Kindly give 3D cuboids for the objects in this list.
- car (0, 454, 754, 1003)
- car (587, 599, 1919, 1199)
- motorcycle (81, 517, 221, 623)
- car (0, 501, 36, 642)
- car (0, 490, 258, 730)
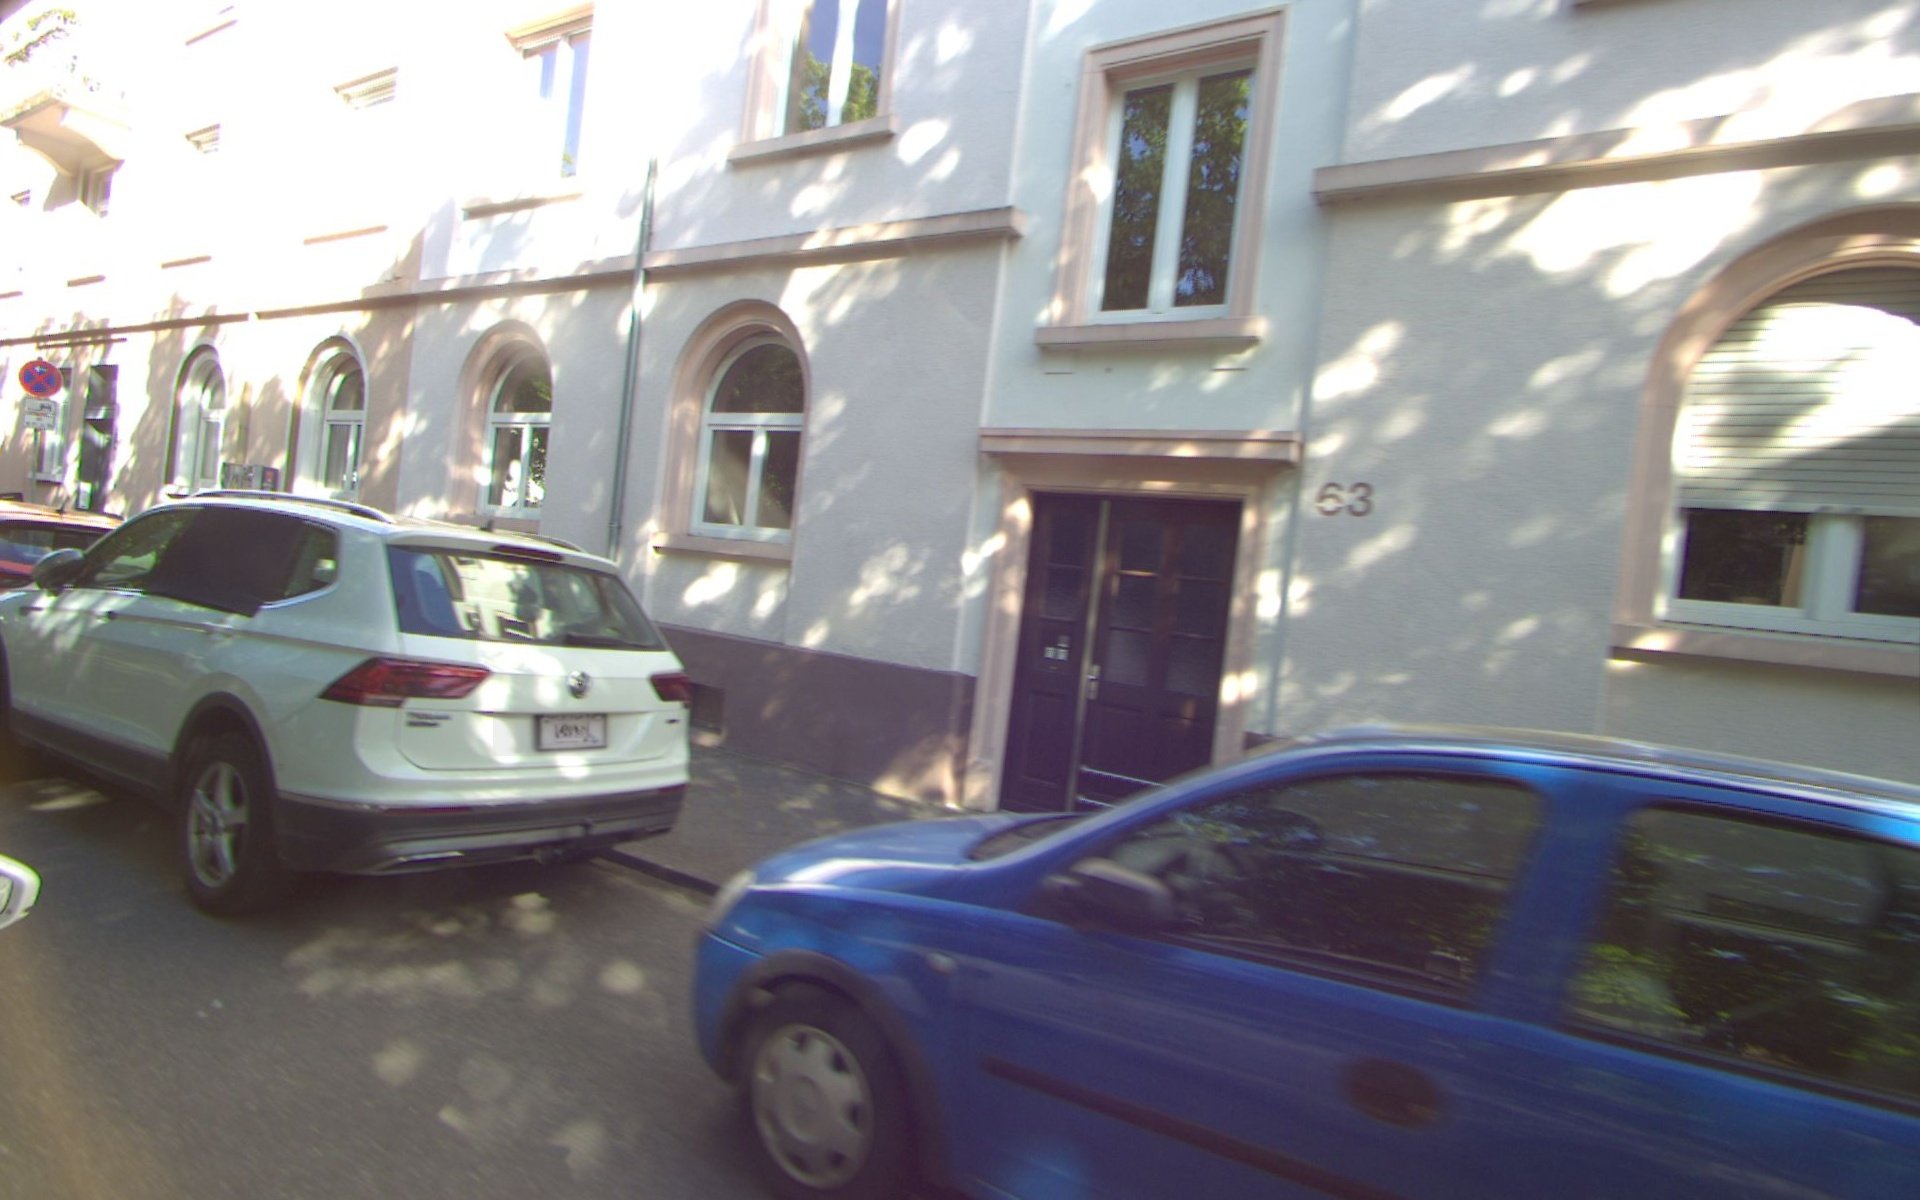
[{"bbox_3d":[-3.476,0.294,5.249,4.596,1.695,1.818,7,0,32],"label":"car"},{"bbox_3d":[1.044,0.957,2.431,3.725,1.430,1.619,7,0,32],"label":"car"},{"bbox_3d":[-10.905,-0.401,13.557,1.803,1.208,0.548,7,1,21],"label":"motorcycle"},{"bbox_3d":[-12.145,-0.584,10.834,4.425,1.426,1.997,7,-1,31],"label":"car"},{"bbox_3d":[-7.638,-0.096,7.909,3.895,1.542,1.794,7,0,28],"label":"car"}]
